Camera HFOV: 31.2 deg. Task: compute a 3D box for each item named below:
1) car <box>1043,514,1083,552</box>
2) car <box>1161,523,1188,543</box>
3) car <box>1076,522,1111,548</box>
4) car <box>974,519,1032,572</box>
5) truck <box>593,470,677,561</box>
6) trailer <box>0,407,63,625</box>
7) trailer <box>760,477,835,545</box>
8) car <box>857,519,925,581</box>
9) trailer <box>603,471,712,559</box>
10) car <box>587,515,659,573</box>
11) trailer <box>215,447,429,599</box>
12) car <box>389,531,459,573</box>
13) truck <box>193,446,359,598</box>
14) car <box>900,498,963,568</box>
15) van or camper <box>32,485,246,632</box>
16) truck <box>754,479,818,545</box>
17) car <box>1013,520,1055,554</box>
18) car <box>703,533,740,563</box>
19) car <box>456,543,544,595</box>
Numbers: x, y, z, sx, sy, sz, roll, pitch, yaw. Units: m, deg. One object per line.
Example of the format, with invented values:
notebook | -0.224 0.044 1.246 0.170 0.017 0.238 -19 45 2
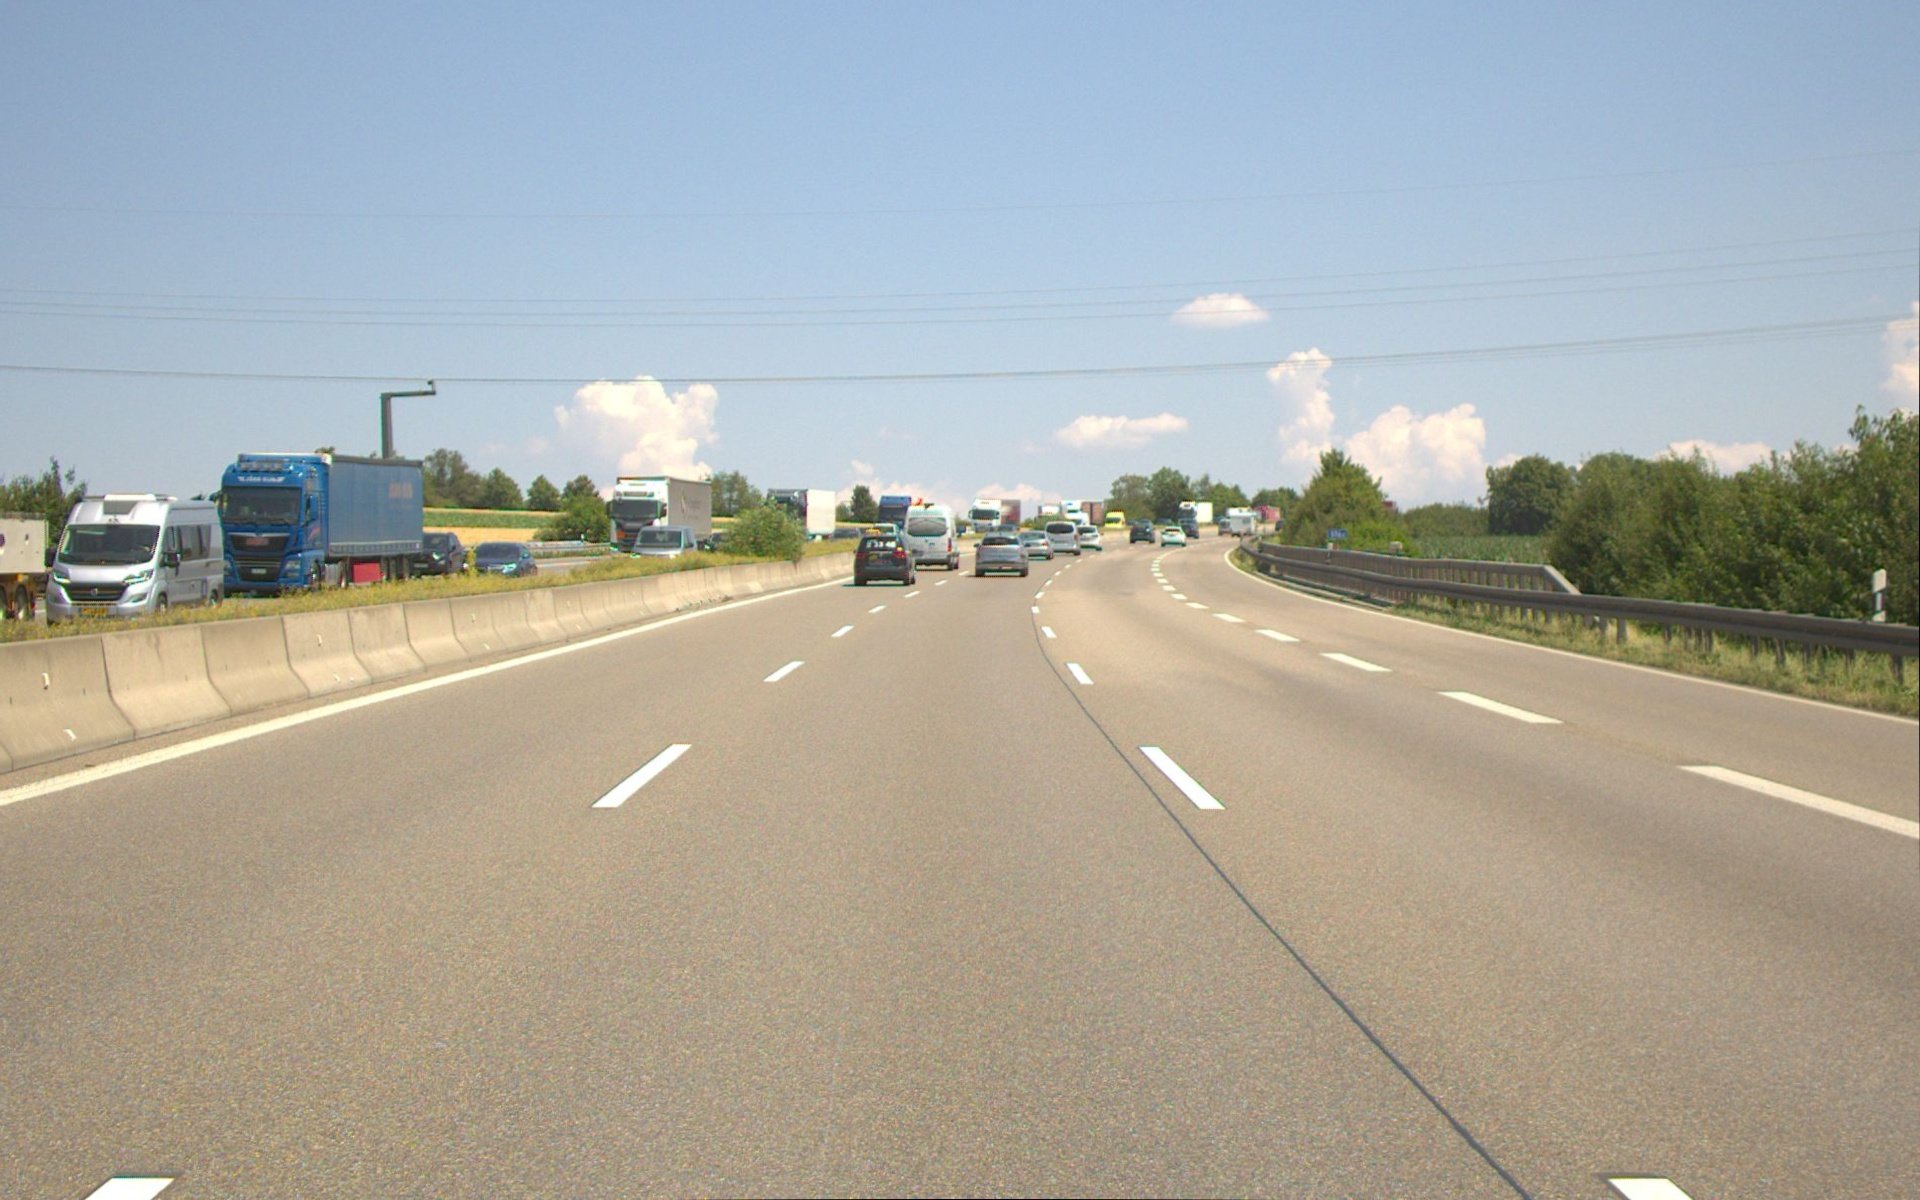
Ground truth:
car | 5.621 -3.640 187.873 1.993 1.897 4.000 0 -1 0
car | 15.747 -4.930 252.118 1.902 1.437 4.000 0 1 4
car | 8.502 -4.155 219.067 1.994 1.546 4.000 2 2 5
car | 1.577 -1.953 124.463 1.993 1.744 3.999 1 -1 2
truck | -15.799 -4.100 167.481 3.132 4.313 6.146 0 1 4
trailer | -19.526 -1.511 61.257 2.953 4.086 14.381 1 1 2
trailer | -10.722 -5.924 228.629 3.242 4.372 14.026 1 1 5
car | -2.167 -1.610 109.014 1.847 1.854 4.205 0 2 3
trailer | -15.263 -4.266 174.704 3.124 4.309 14.543 0 1 4
car | -11.622 -1.935 118.960 1.913 1.963 5.447 1 1 0
trailer | -18.827 -2.256 102.635 3.161 4.179 14.380 1 1 2
car | -18.719 -1.690 120.194 1.657 1.380 4.350 1 1 2
truck | -19.049 -2.169 96.135 3.076 4.076 6.935 1 1 1
car | -1.113 -2.662 137.598 2.180 2.616 4.671 1 -1 4
van or camper | -15.288 -0.781 64.498 2.311 2.578 7.143 1 1 0
truck | -11.201 -5.676 221.443 3.227 4.192 7.125 0 1 5
car | 3.641 -3.085 169.882 1.993 1.579 4.000 0 0 0
car | -11.614 -2.541 167.720 1.624 1.399 3.731 0 2 -1
car | -14.229 -0.969 106.531 1.913 1.536 5.743 1 1 0
